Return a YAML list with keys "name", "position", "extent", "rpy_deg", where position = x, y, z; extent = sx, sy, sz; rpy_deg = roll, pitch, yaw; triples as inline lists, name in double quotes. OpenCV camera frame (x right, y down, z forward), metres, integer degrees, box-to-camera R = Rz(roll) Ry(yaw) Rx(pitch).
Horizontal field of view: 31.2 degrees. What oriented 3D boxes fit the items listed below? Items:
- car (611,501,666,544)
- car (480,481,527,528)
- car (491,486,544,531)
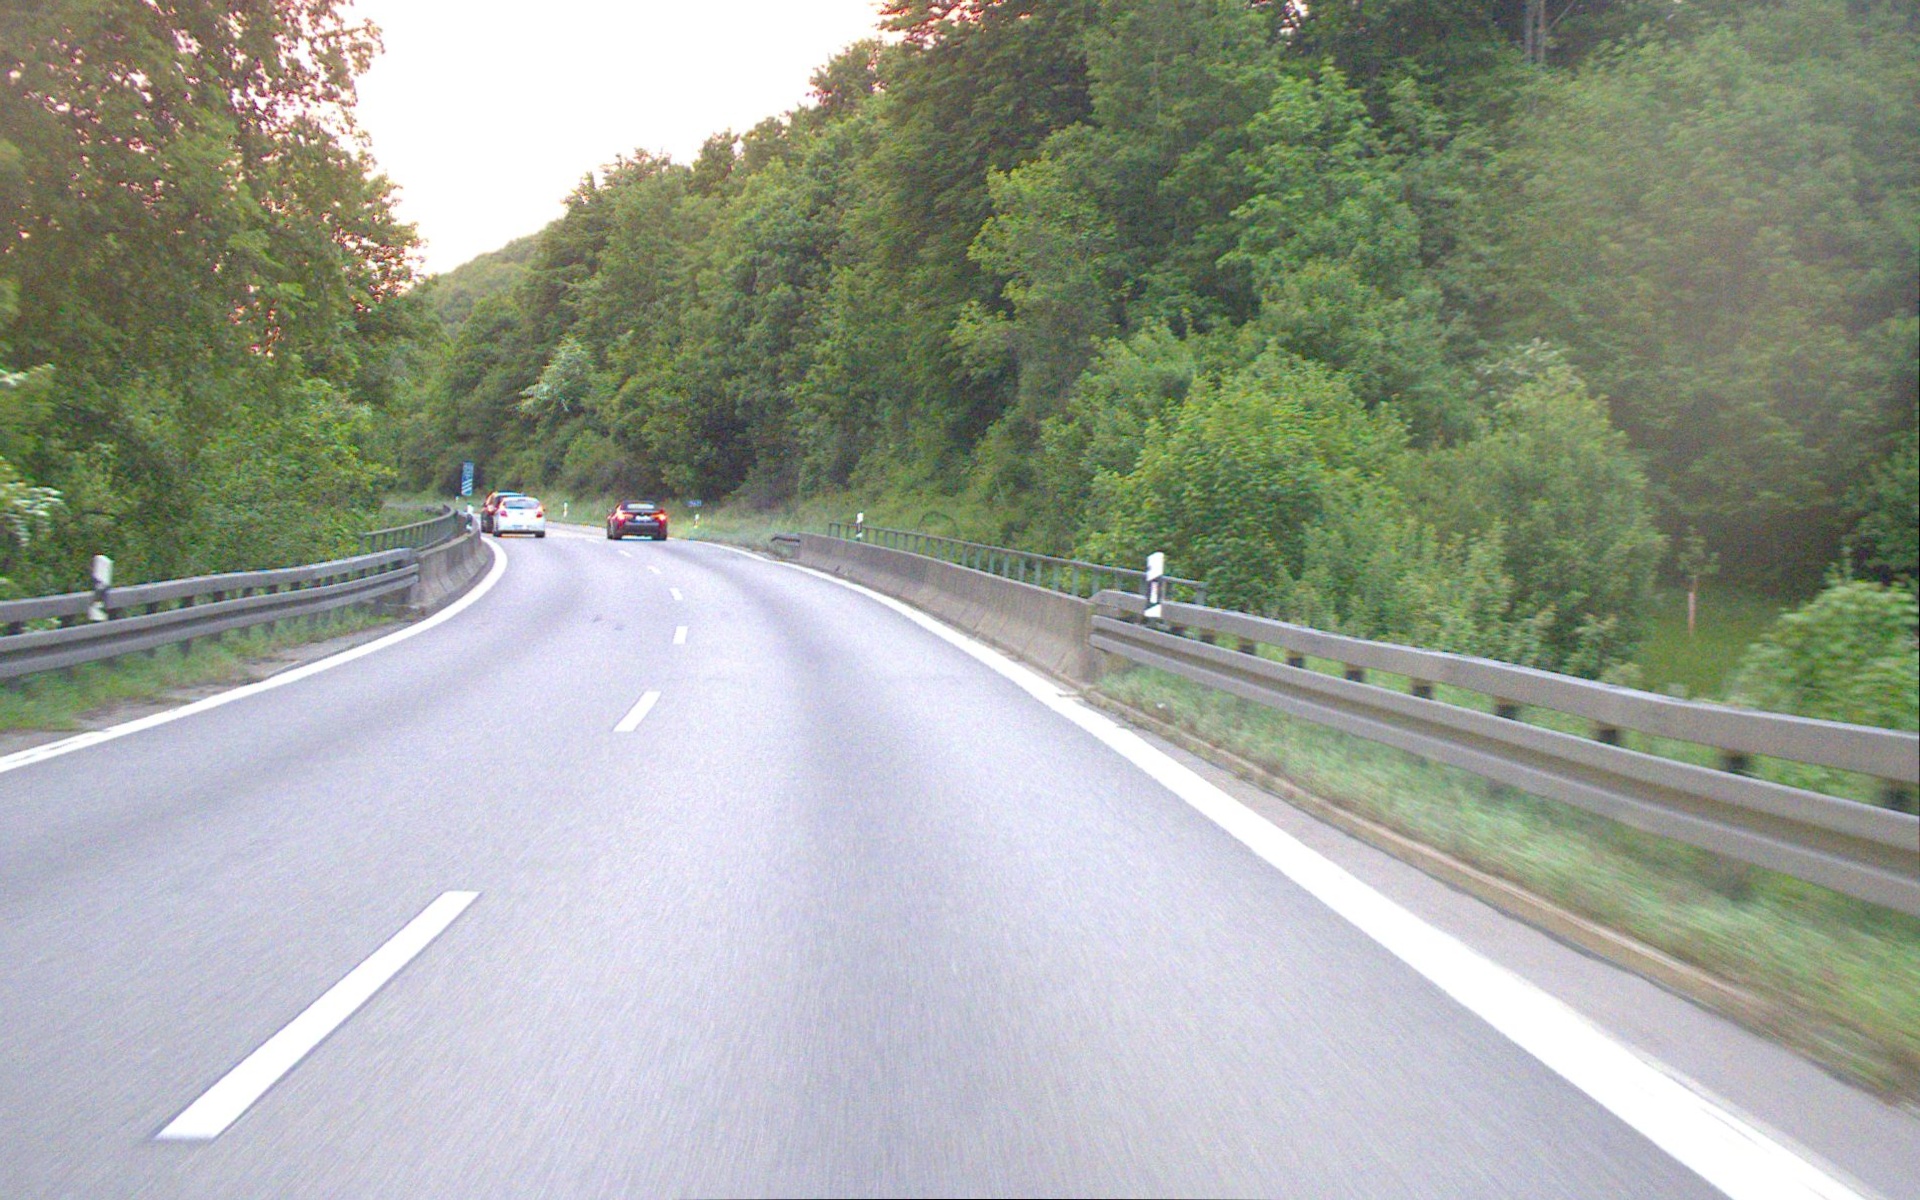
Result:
- name: "car"
  position: [-11.490, -2.781, 123.172]
  extent: [1.878, 1.461, 4.001]
  rpy_deg: [2, 1, -5]
- name: "car"
  position: [-17.912, -3.742, 134.777]
  extent: [1.718, 1.629, 4.001]
  rpy_deg: [-3, 0, -8]
- name: "car"
  position: [-16.165, -3.331, 125.795]
  extent: [1.718, 1.496, 4.001]
  rpy_deg: [2, 0, -5]
